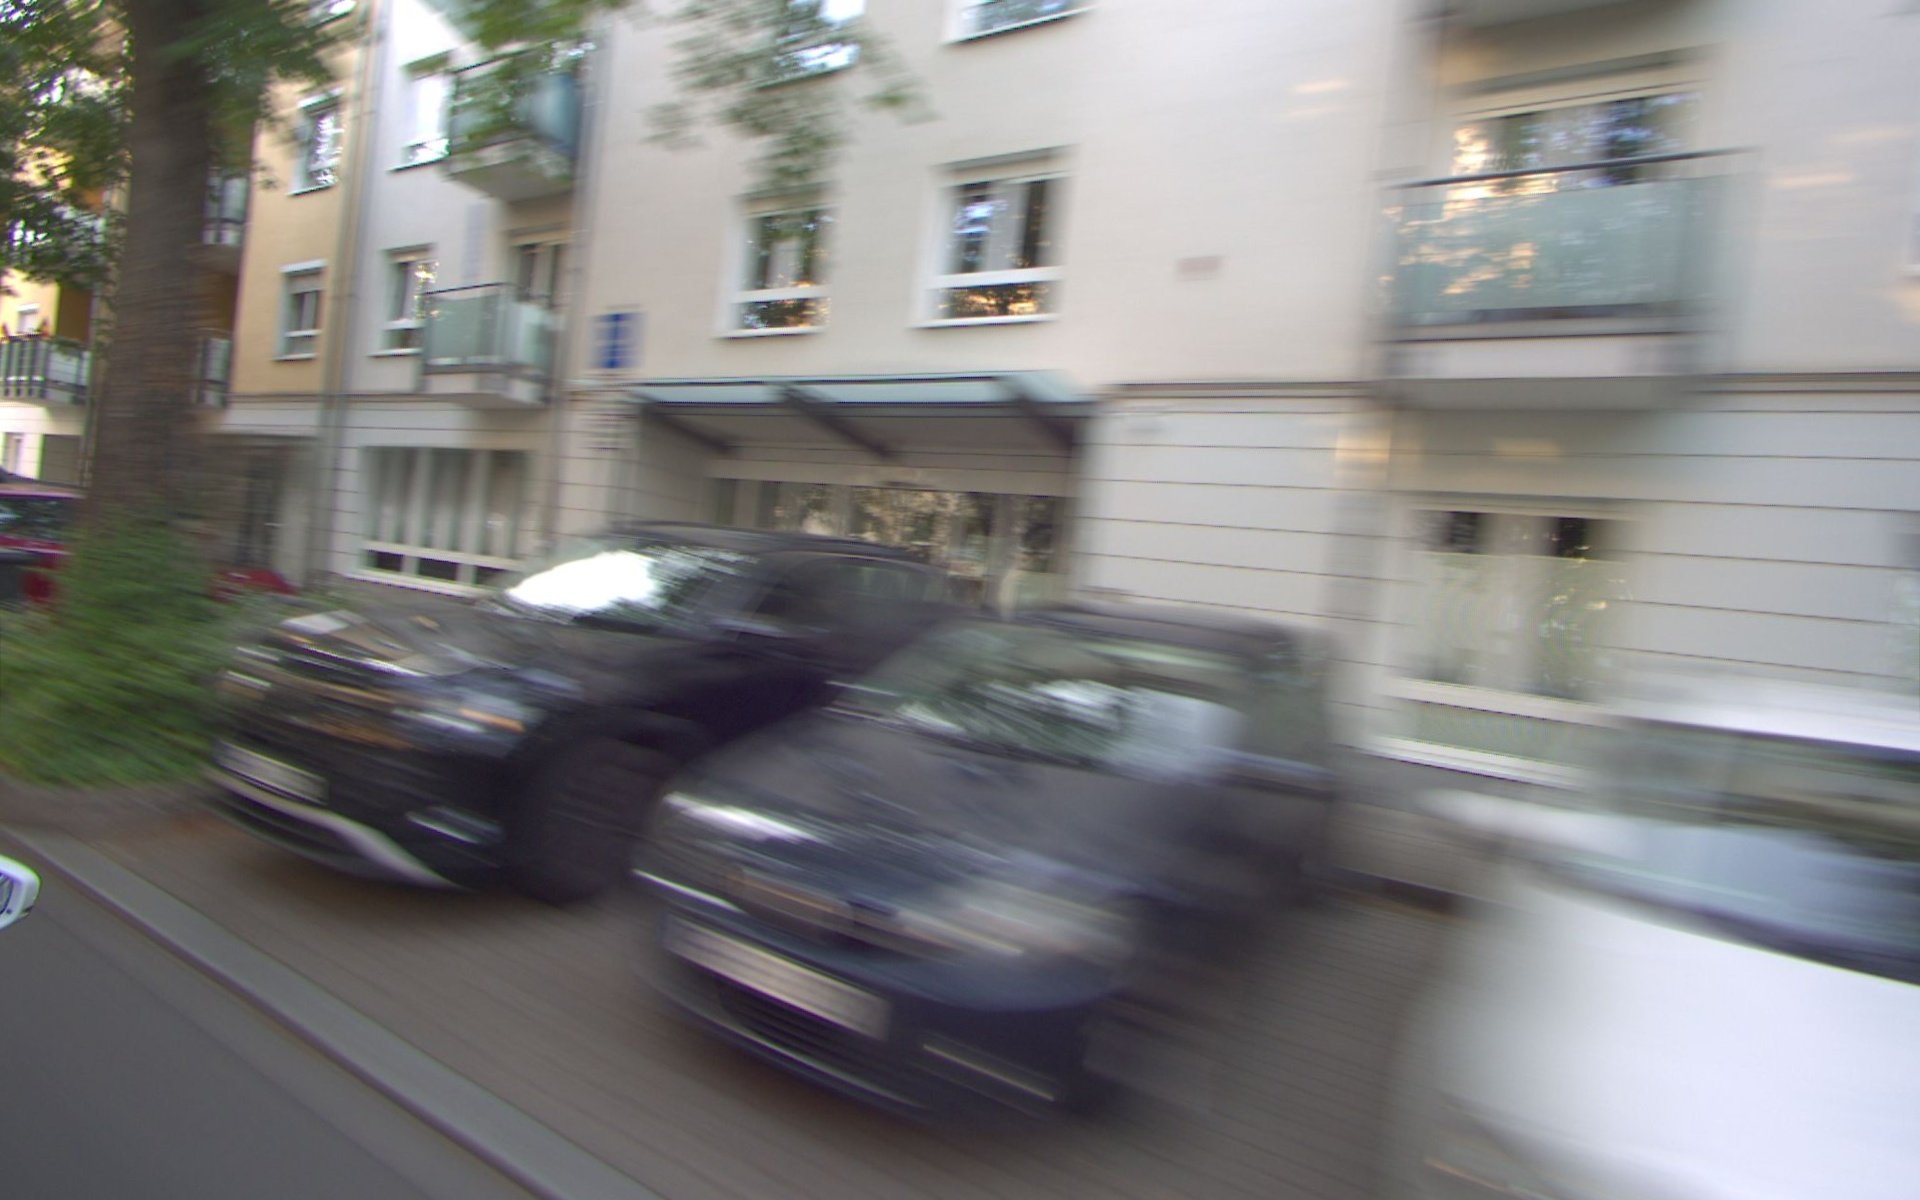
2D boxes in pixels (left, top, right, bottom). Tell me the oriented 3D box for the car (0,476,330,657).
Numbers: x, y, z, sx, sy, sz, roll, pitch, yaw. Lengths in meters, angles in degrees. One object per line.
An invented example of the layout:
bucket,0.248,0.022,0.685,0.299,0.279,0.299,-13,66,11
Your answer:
car,-8.637,-0.347,9.954,1.751,1.569,3.665,5,2,30

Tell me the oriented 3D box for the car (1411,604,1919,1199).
car,2.487,0.932,2.803,1.743,1.573,4.573,7,2,31

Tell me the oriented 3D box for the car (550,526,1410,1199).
car,0.575,0.679,4.303,1.699,1.546,3.985,7,2,33

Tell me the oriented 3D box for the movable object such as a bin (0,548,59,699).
movable object such as a bin,-7.268,0.150,7.376,0.579,1.081,0.775,7,0,31

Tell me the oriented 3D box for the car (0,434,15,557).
car,-18.860,-1.960,16.435,2.003,2.162,4.618,7,3,32

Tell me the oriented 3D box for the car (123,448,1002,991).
car,-1.587,0.378,5.662,1.862,1.726,4.388,7,2,27

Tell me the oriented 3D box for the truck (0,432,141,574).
truck,-16.507,-1.647,15.199,2.223,2.162,6.001,7,3,32
